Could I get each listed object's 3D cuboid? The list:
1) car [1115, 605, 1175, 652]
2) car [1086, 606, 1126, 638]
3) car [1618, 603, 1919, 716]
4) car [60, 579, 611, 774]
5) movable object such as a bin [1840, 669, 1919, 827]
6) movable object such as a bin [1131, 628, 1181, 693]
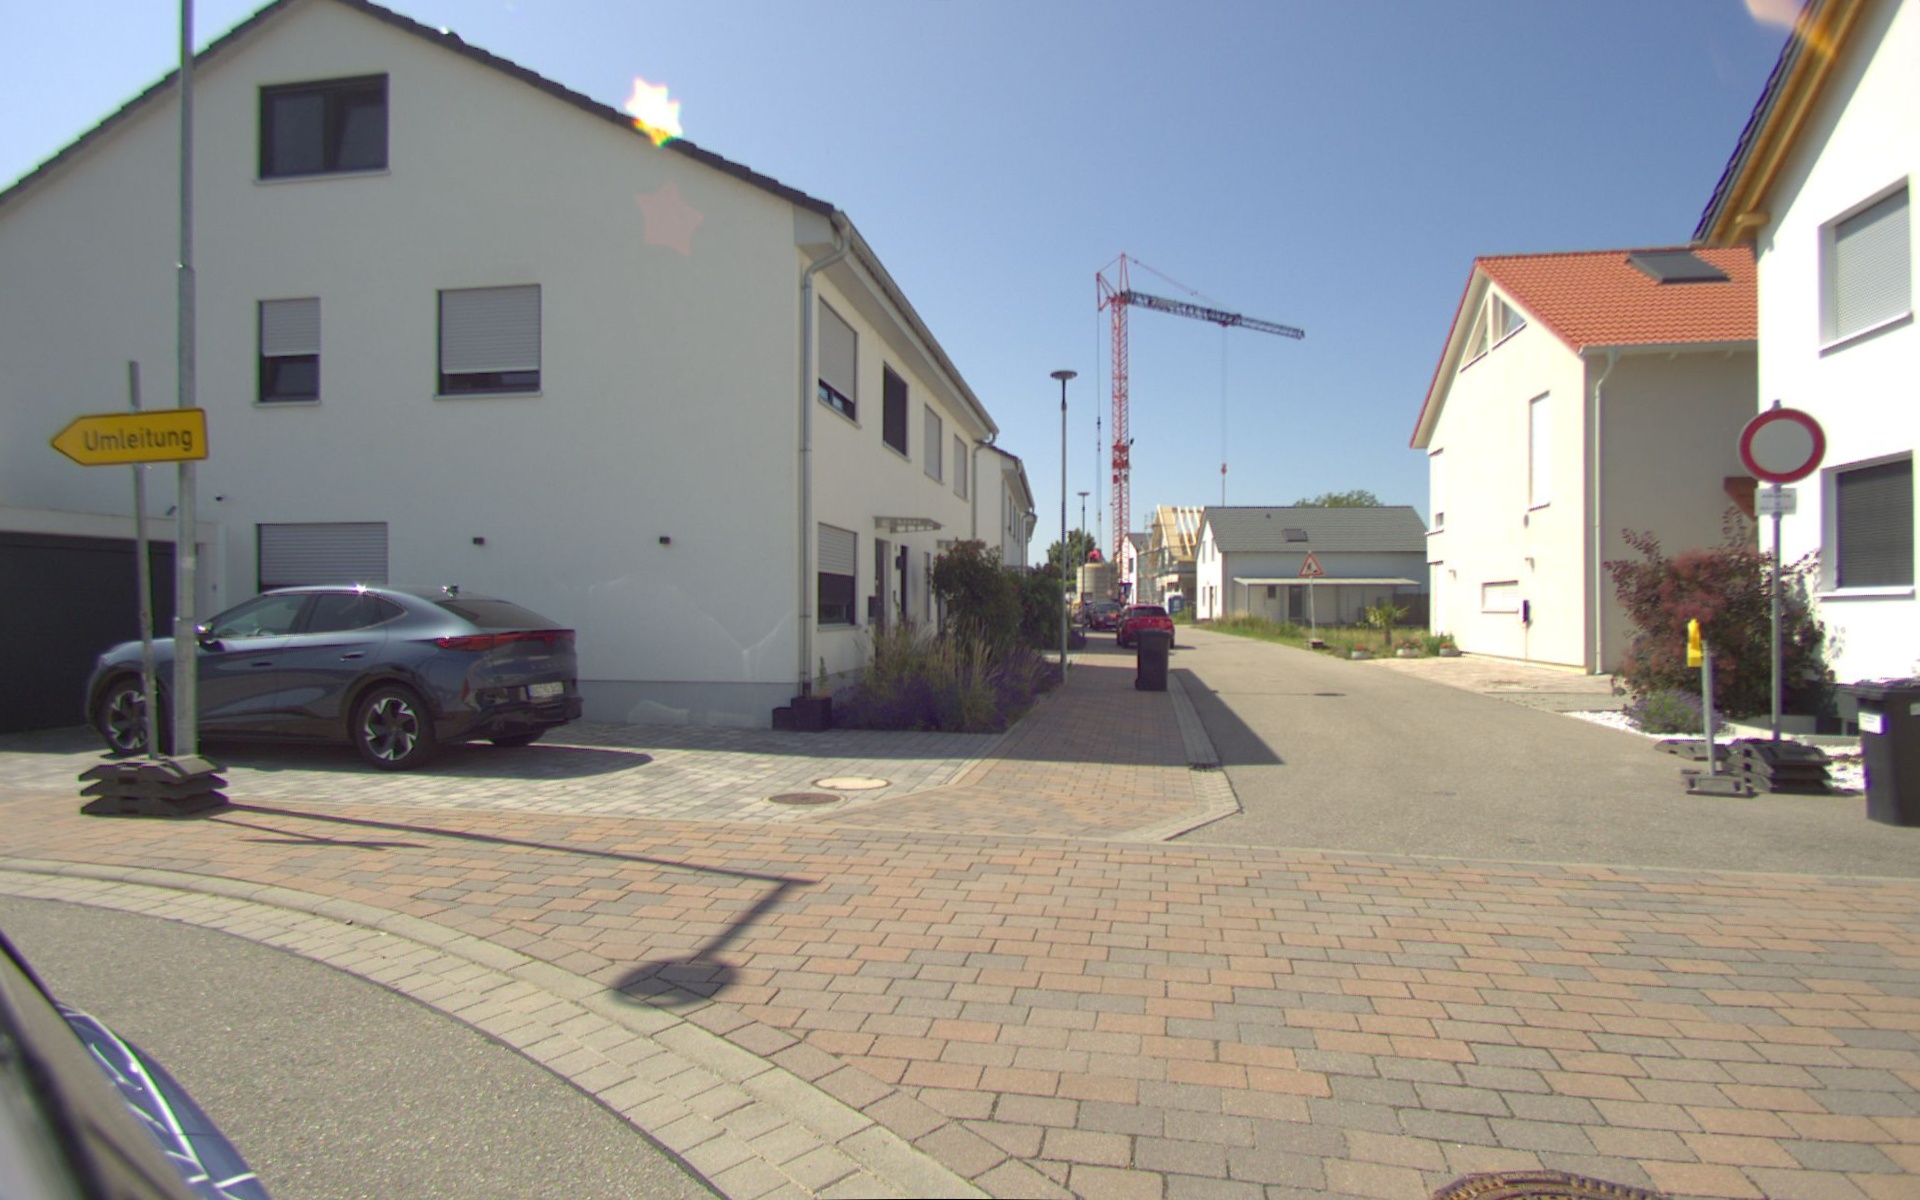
[{"bbox_3d":[6.321,0.931,34.922,1.890,1.490,3.989,0,0,9],"label":"car"},{"bbox_3d":[7.848,1.142,54.509,1.780,1.630,3.673,0,0,3],"label":"car"},{"bbox_3d":[11.381,0.752,13.443,4.017,1.391,1.750,0,-1,11],"label":"car"},{"bbox_3d":[-5.776,0.656,9.594,4.305,1.570,1.953,0,-1,12],"label":"car"},{"bbox_3d":[6.173,0.924,6.452,0.611,0.944,0.563,-1,-2,9],"label":"movable object such as a bin"},{"bbox_3d":[3.359,1.035,17.377,0.814,1.072,0.588,-1,0,9],"label":"movable object such as a bin"}]
